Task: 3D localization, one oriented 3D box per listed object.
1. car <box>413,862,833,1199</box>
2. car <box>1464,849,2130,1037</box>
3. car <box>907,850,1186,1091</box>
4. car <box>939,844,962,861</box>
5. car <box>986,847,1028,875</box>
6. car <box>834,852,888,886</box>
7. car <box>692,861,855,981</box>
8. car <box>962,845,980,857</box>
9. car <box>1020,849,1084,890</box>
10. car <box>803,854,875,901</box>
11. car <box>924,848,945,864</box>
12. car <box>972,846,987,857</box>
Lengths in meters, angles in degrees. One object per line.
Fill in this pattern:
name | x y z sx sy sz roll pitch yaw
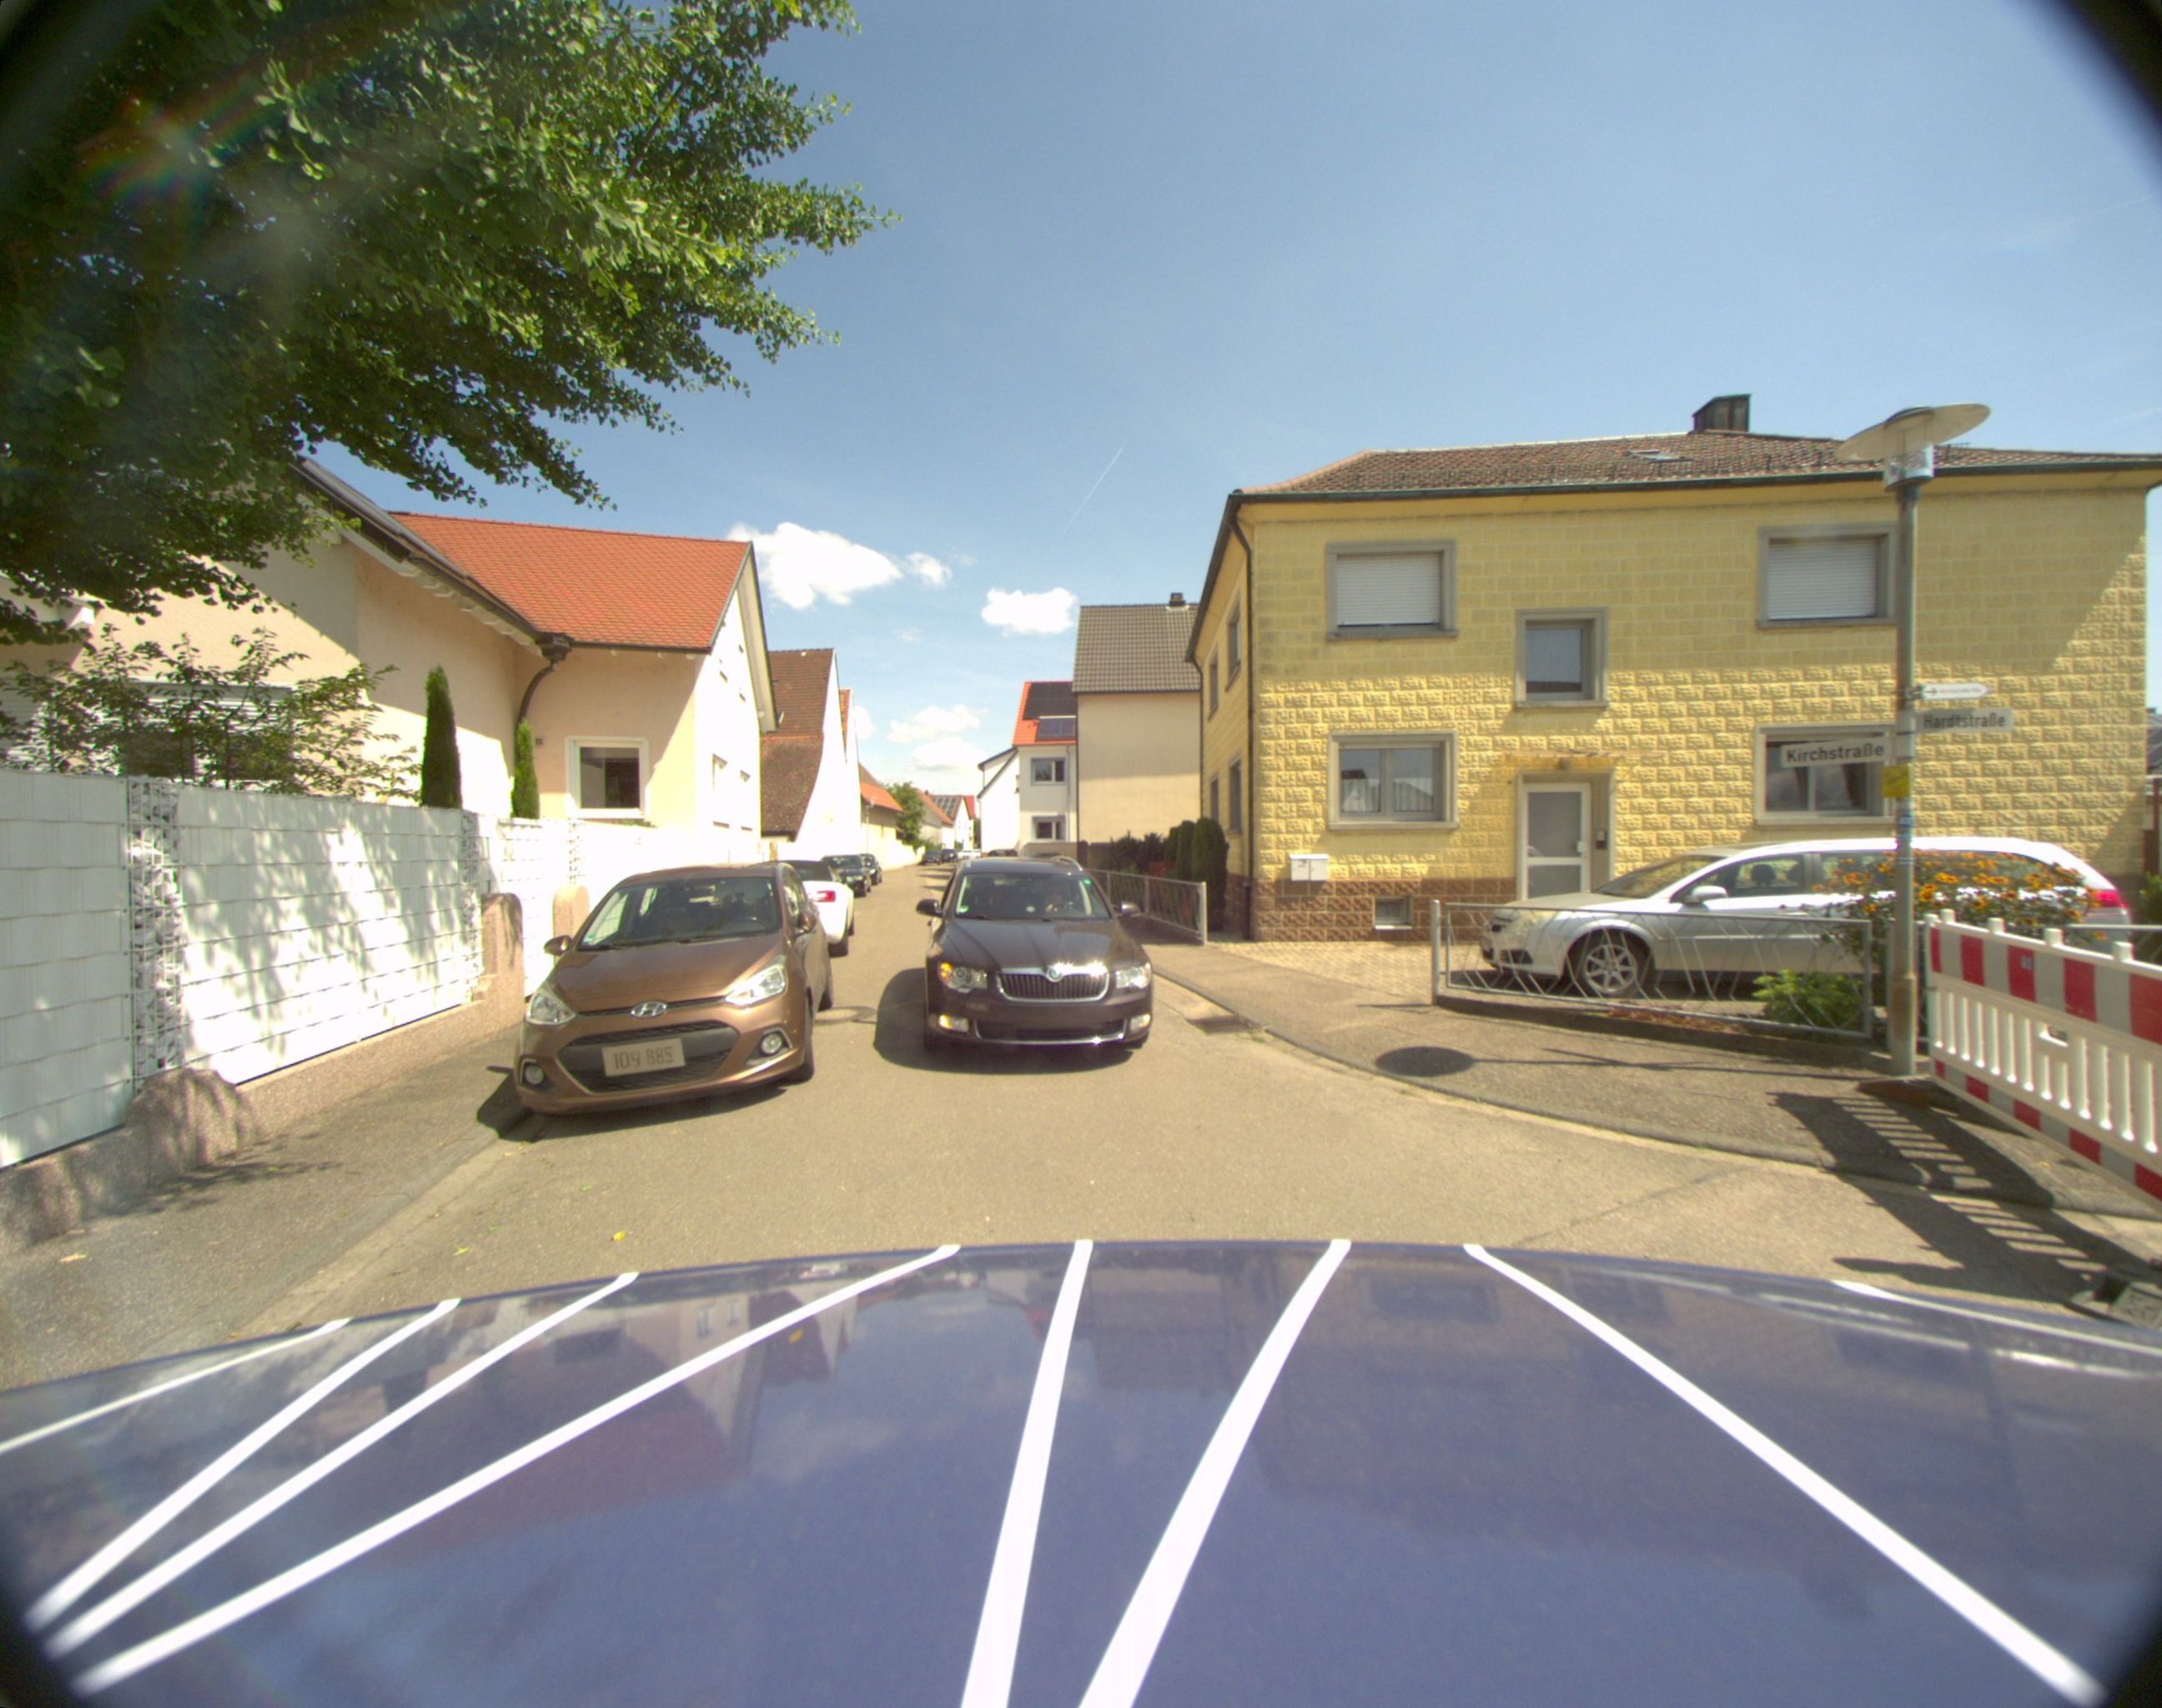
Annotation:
car | -3.052 0.936 6.072 1.718 1.524 4.029 -4 2 -15
car | 6.442 0.719 7.524 4.464 1.477 1.794 0 1 16
car | -0.705 0.866 7.321 1.787 1.526 4.706 4 -3 -13
car | -13.940 -0.150 81.057 1.785 1.600 3.998 -3 1 -2
car | -4.110 0.360 42.894 1.641 1.446 3.788 -2 1 5
car | -9.814 0.614 34.139 1.902 1.357 4.409 -1 1 -11
car | -4.777 0.899 12.488 1.903 1.420 4.730 -1 1 -15
car | -14.671 -0.398 101.388 1.785 1.492 4.037 -3 1 -2
car | -1.030 0.554 29.547 1.773 1.342 4.470 -2 2 7
car | -8.160 0.721 25.970 1.902 1.357 4.731 -1 1 -12
car | -13.786 0.138 71.779 1.786 1.471 3.996 0 1 -9
car | -15.204 -0.423 114.123 1.785 1.492 4.037 -3 1 -2
